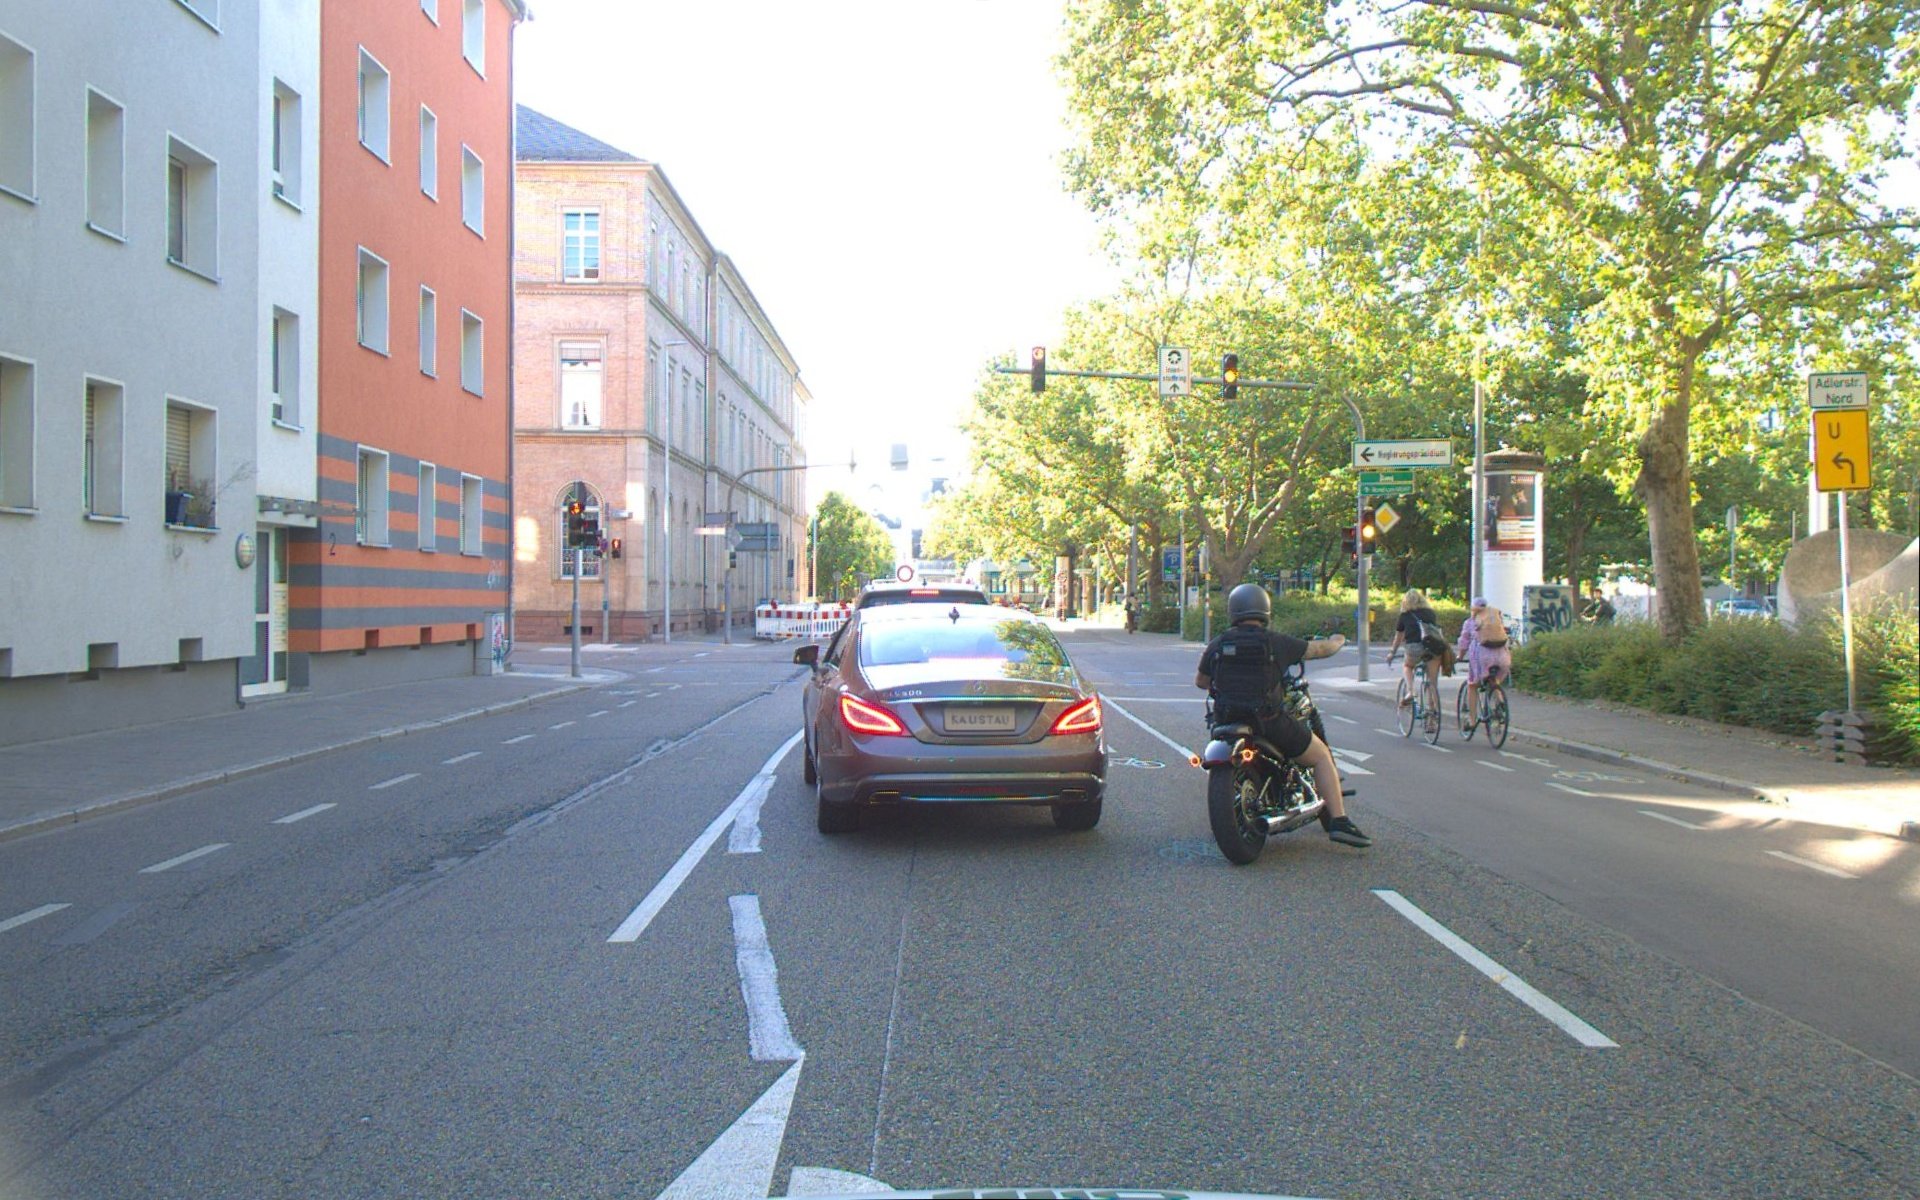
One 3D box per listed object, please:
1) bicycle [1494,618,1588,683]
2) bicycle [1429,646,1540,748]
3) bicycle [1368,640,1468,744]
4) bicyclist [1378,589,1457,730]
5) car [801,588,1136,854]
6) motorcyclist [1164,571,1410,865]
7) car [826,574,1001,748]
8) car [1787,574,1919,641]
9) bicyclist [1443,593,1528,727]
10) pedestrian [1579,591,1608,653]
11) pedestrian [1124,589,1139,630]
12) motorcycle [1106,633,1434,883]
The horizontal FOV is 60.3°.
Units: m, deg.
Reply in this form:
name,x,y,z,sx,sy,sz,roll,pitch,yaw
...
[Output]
name,x,y,z,sx,sy,sz,roll,pitch,yaw
bicycle,9.691,0.834,27.595,1.387,1.055,0.538,0,0,-5
bicycle,5.799,1.048,18.383,0.588,1.002,1.881,2,0,-1
bicycle,5.151,1.013,18.694,0.598,1.044,1.731,2,0,-1
bicyclist,5.158,0.657,18.690,0.598,1.542,0.889,2,0,-1
car,-0.144,0.683,11.635,1.787,1.502,4.346,0,0,-7
motorcyclist,1.998,0.653,10.035,1.093,1.641,1.198,0,0,34
car,-0.507,0.577,17.591,1.647,1.653,3.839,0,0,-2
car,25.663,0.195,46.448,3.912,1.815,2.001,0,0,4
bicyclist,5.808,0.644,18.314,0.588,1.426,0.931,2,0,-1
pedestrian,18.604,0.645,48.557,0.607,1.815,0.630,0,0,1
pedestrian,7.204,0.402,69.454,0.548,1.707,0.564,0,0,-1
motorcycle,1.940,0.842,9.915,0.989,1.225,2.657,0,0,33
